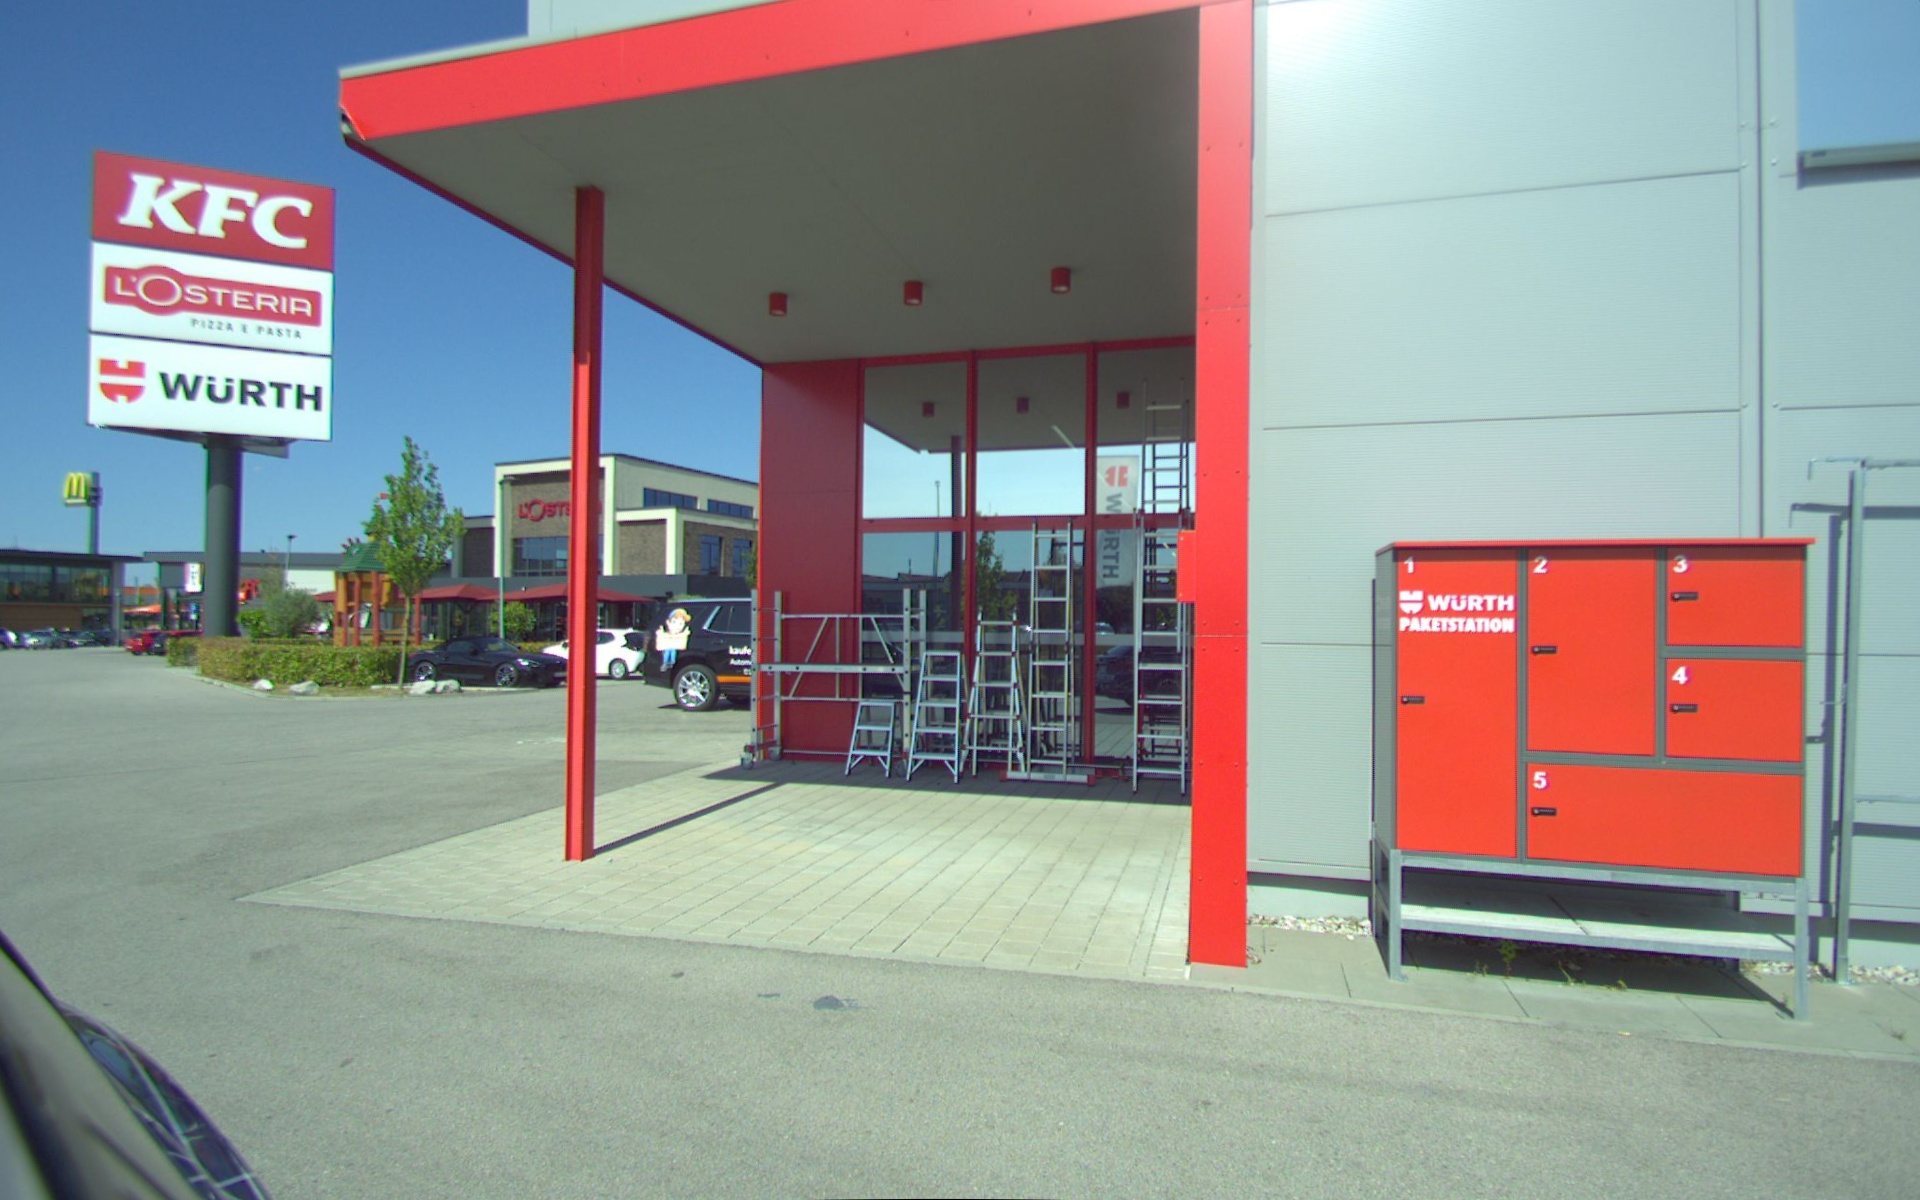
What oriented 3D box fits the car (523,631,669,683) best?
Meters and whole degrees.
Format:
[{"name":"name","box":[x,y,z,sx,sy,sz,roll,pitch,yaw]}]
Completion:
[{"name":"car","box":[-10.885,1.675,30.333,3.884,1.486,1.791,-1,-2,20]}]

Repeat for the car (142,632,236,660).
[{"name":"car","box":[-45.676,2.700,60.053,1.869,1.577,4.060,-1,-2,26]}]

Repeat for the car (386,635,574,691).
[{"name":"car","box":[-12.128,1.556,25.658,4.115,1.348,1.822,-1,-2,15]}]

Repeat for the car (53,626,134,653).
[{"name":"car","box":[-68.432,3.062,80.022,1.989,2.029,4.445,-1,-1,26]}]

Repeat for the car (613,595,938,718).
[{"name":"car","box":[-3.221,0.964,17.888,5.332,1.953,2.021,-1,-2,16]}]

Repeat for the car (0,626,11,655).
[{"name":"car","box":[-70.017,2.879,71.143,1.989,2.029,4.445,-1,-1,26]}]

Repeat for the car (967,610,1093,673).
[{"name":"car","box":[2.390,1.381,33.954,3.960,2.029,1.991,-1,-1,13]}]

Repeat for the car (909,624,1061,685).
[{"name":"car","box":[0.720,1.497,28.474,3.966,1.629,1.771,-1,-2,17]}]

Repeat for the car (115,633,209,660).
[{"name":"car","box":[-48.160,2.783,61.147,1.869,1.577,4.060,-1,-2,26]}]
